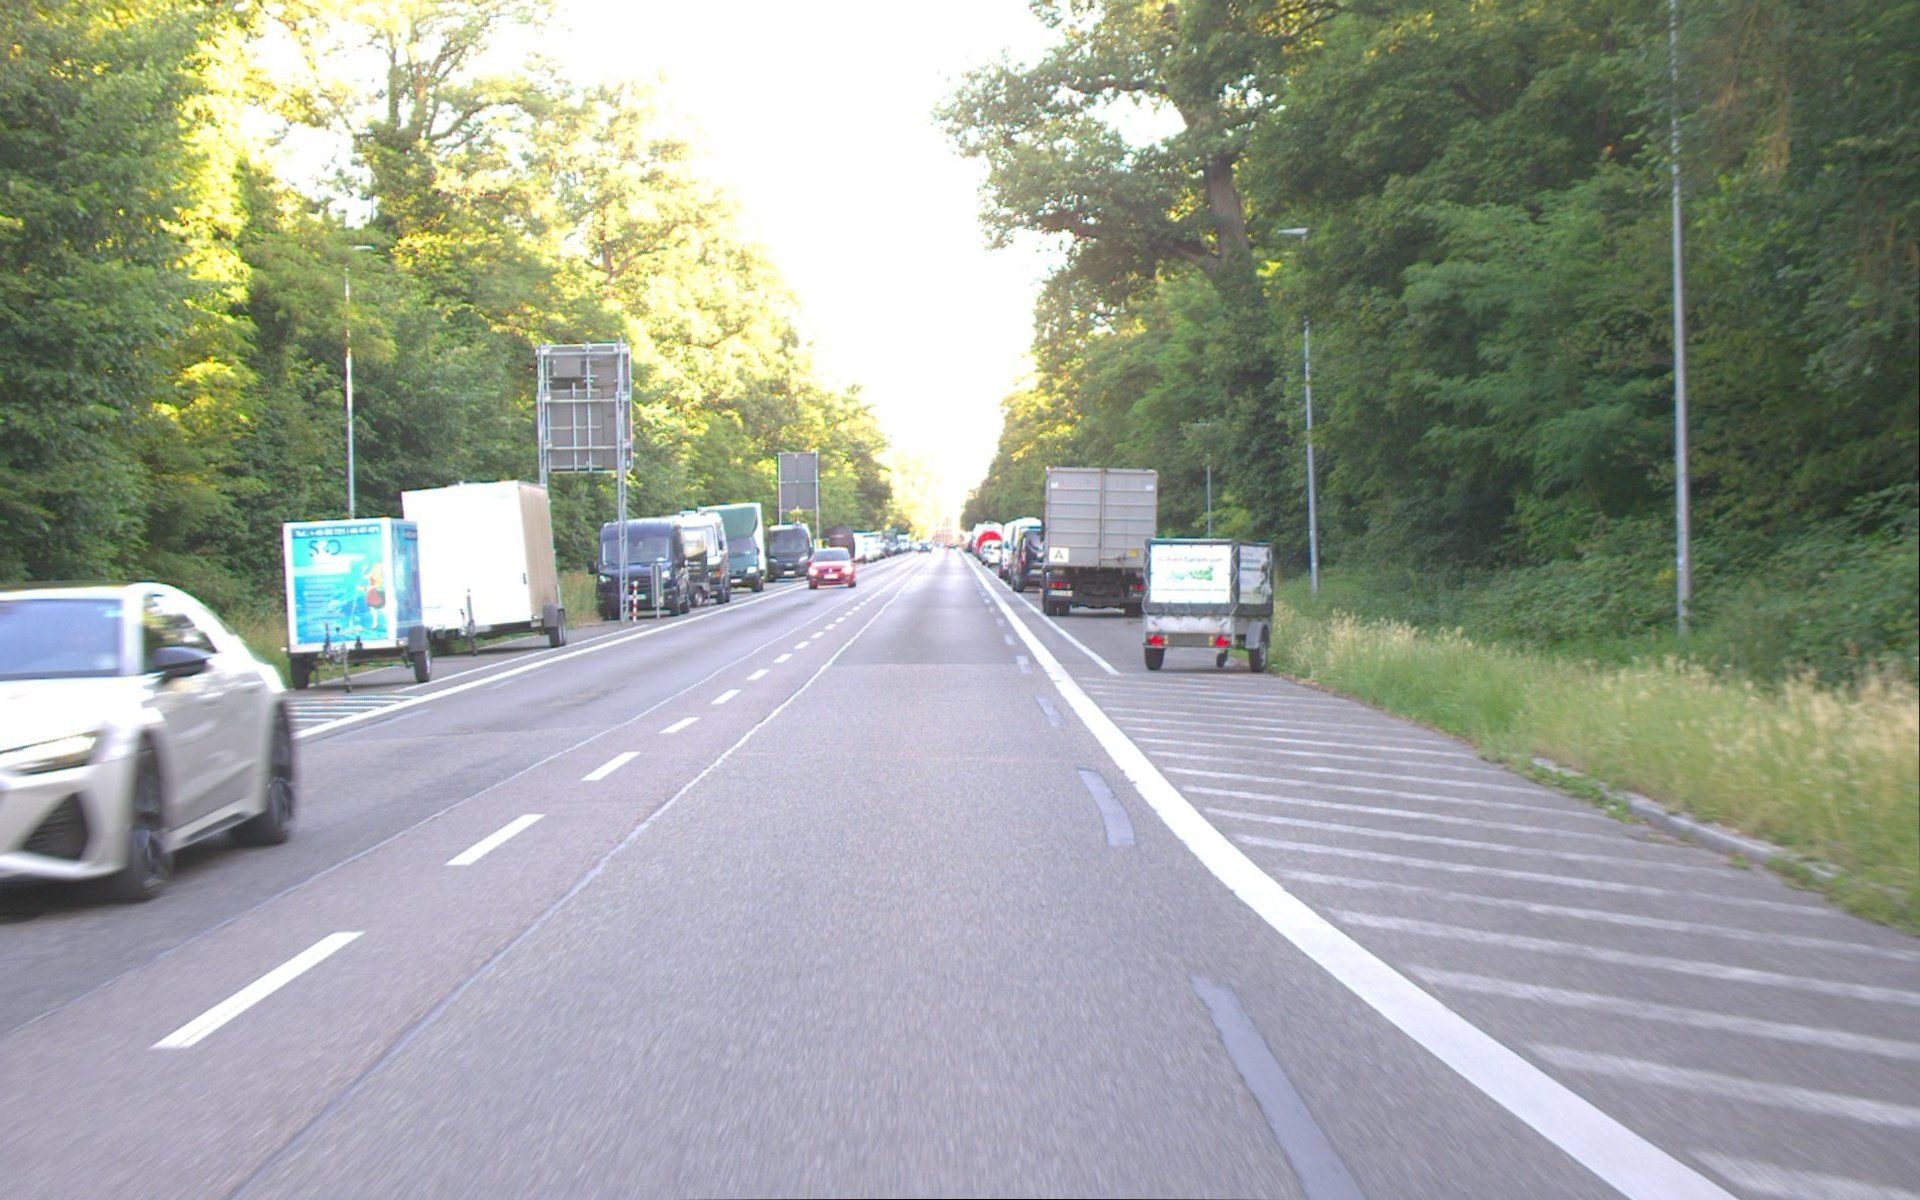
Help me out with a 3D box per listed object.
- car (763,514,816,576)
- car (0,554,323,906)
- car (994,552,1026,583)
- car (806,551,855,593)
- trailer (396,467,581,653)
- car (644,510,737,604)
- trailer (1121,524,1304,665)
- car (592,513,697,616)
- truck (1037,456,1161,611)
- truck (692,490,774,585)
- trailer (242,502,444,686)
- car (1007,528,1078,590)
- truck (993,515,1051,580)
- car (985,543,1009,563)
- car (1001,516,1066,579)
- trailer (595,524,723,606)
[{"bbox_3d":[-8.010,-2.602,162.131,2.186,2.779,5.334,-2,1,0],"label":"car"},{"bbox_3d":[-4.524,0.539,16.417,2.063,1.430,4.466,-2,1,0],"label":"car"},{"bbox_3d":[2.165,-1.412,148.145,1.147,1.247,2.754,-4,1,-2],"label":"car"},{"bbox_3d":[-4.739,-1.045,126.550,1.682,1.481,4.038,-2,1,-1],"label":"car"},{"bbox_3d":[-8.021,-0.699,59.058,2.326,2.914,5.627,-3,1,-1],"label":"trailer"},{"bbox_3d":[-7.958,-1.300,101.917,2.249,2.638,5.721,-2,1,0],"label":"car"},{"bbox_3d":[3.217,-0.099,43.213,1.457,1.656,3.774,-2,1,17],"label":"trailer"},{"bbox_3d":[-7.805,-0.906,85.555,1.993,2.356,5.766,-3,1,0],"label":"car"},{"bbox_3d":[2.995,-1.436,75.584,2.589,3.244,7.220,0,1,1],"label":"truck"},{"bbox_3d":[-8.348,-2.321,127.149,2.504,3.317,6.842,-2,1,0],"label":"truck"},{"bbox_3d":[-7.734,-0.105,43.452,1.817,2.160,4.143,-2,1,-1],"label":"trailer"},{"bbox_3d":[2.598,-1.303,109.501,1.993,1.948,4.300,0,1,-2],"label":"car"},{"bbox_3d":[2.527,-2.168,141.776,2.141,2.650,4.300,0,1,-2],"label":"truck"},{"bbox_3d":[2.216,-2.822,206.742,1.427,1.218,3.412,-1,1,0],"label":"car"},{"bbox_3d":[2.731,-1.955,128.760,2.141,2.306,4.300,0,1,-2],"label":"car"},{"bbox_3d":[-8.414,-0.999,96.394,1.965,2.147,3.926,-2,1,21],"label":"trailer"}]
